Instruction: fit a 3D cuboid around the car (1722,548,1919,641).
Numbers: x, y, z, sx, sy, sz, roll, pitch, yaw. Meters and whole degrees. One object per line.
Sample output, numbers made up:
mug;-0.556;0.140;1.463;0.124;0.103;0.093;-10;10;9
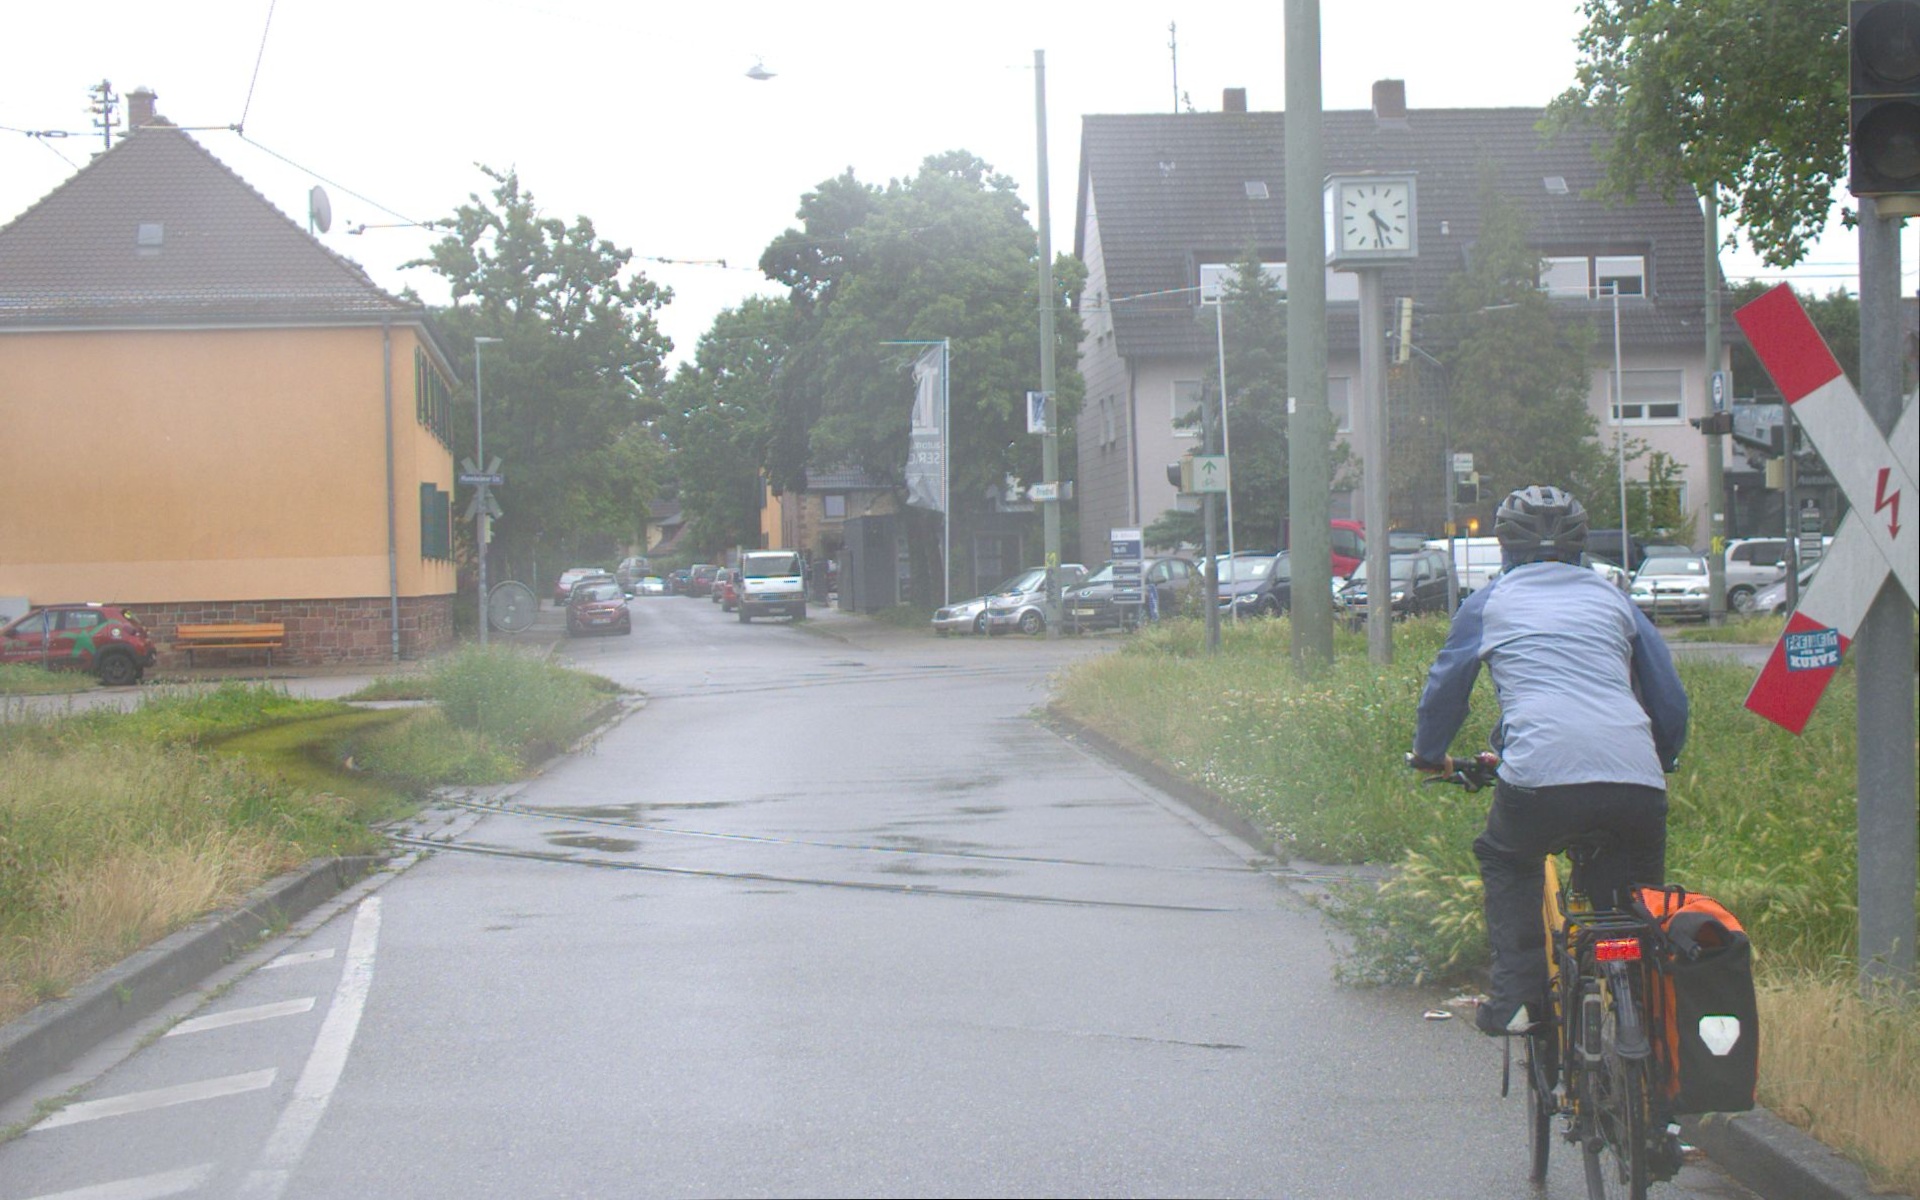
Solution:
car;16.404;-0.102;64.716;3.685;1.695;1.890;1;0;0

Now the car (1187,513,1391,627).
car;7.609;-0.691;79.420;4.398;2.557;1.999;1;0;14

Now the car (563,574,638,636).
car;-9.957;0.128;95.338;1.804;1.645;4.000;1;0;-2

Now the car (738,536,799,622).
car;-5.984;-0.656;107.681;1.804;2.618;4.000;1;0;-2

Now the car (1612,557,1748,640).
car;14.805;-0.023;70.578;1.843;1.634;3.994;1;0;25

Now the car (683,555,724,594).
car;-12.249;-1.192;164.277;1.804;1.805;4.000;1;0;-2

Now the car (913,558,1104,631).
car;1.127;-0.128;79.552;3.987;1.637;2.000;1;0;-36

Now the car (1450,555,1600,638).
car;11.575;-0.067;70.190;1.996;1.634;3.994;1;0;25

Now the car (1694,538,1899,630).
car;18.432;-0.358;75.883;3.986;1.944;2.000;1;0;-2

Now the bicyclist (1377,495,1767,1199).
bicyclist;1.327;0.596;7.588;0.667;1.620;0.853;1;0;-2

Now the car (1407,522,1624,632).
car;12.228;-0.500;75.850;4.395;2.317;2.000;1;0;-2

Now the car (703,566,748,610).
car;-10.029;-0.510;147.045;1.804;1.805;4.000;1;0;-2

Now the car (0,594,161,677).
car;-16.618;0.627;62.228;3.986;1.451;1.834;1;0;-6

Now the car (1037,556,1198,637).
car;3.353;-0.075;72.391;1.996;1.634;3.994;1;0;25

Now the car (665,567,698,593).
car;-17.067;-1.226;210.895;1.804;1.558;4.000;1;0;-2

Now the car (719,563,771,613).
car;-7.956;-0.443;127.558;1.804;1.805;4.000;1;0;-2

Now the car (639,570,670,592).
car;-20.263;-1.252;228.019;1.804;1.456;4.000;1;0;-2

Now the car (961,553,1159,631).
car;2.236;-0.171;76.482;3.987;1.670;2.000;1;0;-36

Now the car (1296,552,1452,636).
car;8.457;-0.110;69.973;1.996;1.634;3.994;1;0;25

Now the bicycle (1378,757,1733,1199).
bicycle;1.295;0.912;7.727;0.446;1.001;1.728;-1;1;-2

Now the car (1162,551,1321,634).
car;5.864;-0.148;71.143;1.996;1.634;3.994;1;0;25
